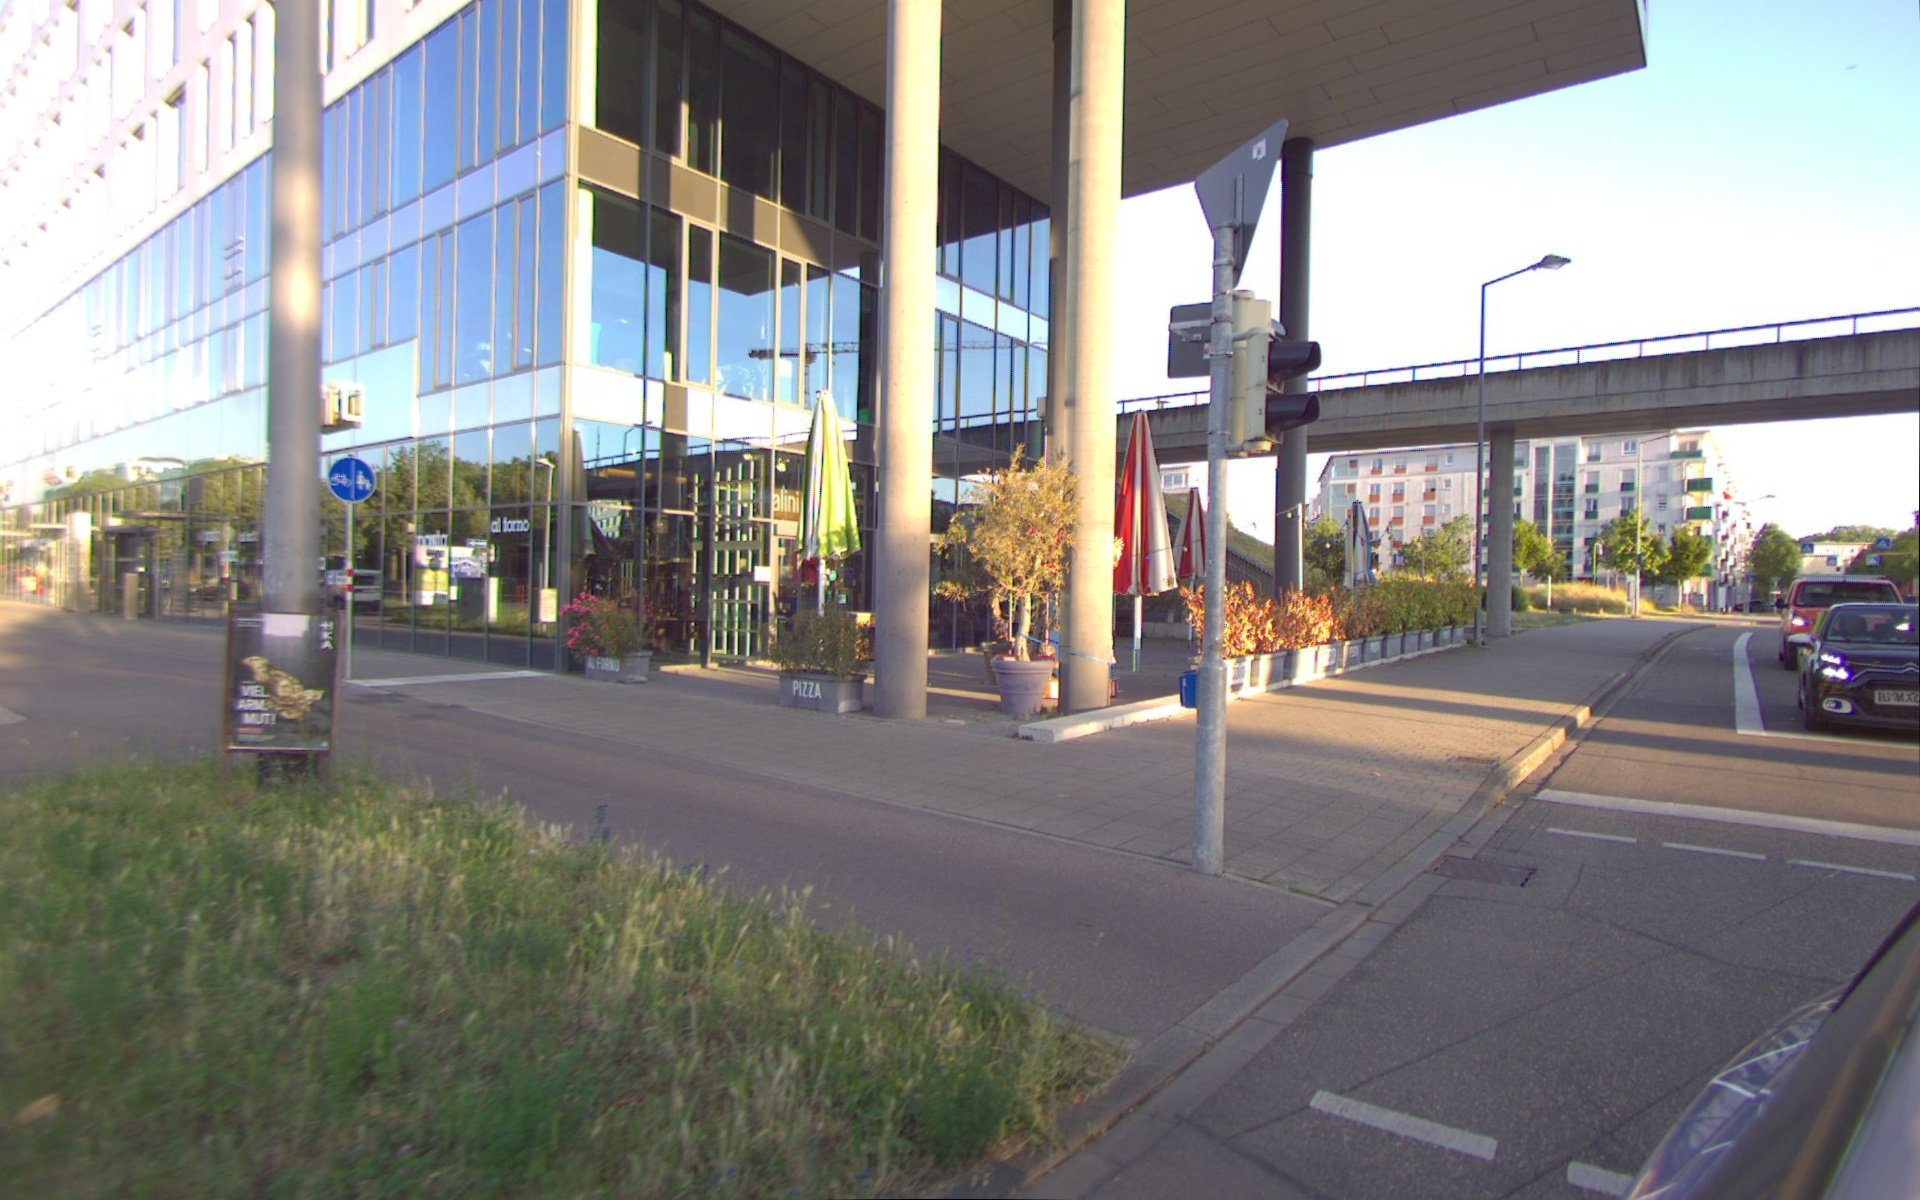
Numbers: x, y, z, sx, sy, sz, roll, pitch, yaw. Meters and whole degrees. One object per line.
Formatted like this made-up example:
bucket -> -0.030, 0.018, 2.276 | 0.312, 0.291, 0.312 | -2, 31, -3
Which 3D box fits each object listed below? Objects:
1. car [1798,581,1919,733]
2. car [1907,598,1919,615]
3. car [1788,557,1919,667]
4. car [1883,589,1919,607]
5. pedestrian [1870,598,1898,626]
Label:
car -> 11.272, 0.604, 12.059 | 1.751, 1.571, 4.017 | 2, 1, 37
car -> 92.926, 0.702, 95.988 | 4.373, 1.579, 1.812 | 2, 2, 41
car -> 18.489, 0.213, 20.980 | 1.922, 2.016, 4.755 | 1, 0, 38
car -> 111.863, -0.239, 118.932 | 4.721, 2.039, 1.973 | 2, 1, 37
pedestrian -> 67.709, 0.861, 74.135 | 1.115, 2.039, 1.093 | 0, 1, -22
